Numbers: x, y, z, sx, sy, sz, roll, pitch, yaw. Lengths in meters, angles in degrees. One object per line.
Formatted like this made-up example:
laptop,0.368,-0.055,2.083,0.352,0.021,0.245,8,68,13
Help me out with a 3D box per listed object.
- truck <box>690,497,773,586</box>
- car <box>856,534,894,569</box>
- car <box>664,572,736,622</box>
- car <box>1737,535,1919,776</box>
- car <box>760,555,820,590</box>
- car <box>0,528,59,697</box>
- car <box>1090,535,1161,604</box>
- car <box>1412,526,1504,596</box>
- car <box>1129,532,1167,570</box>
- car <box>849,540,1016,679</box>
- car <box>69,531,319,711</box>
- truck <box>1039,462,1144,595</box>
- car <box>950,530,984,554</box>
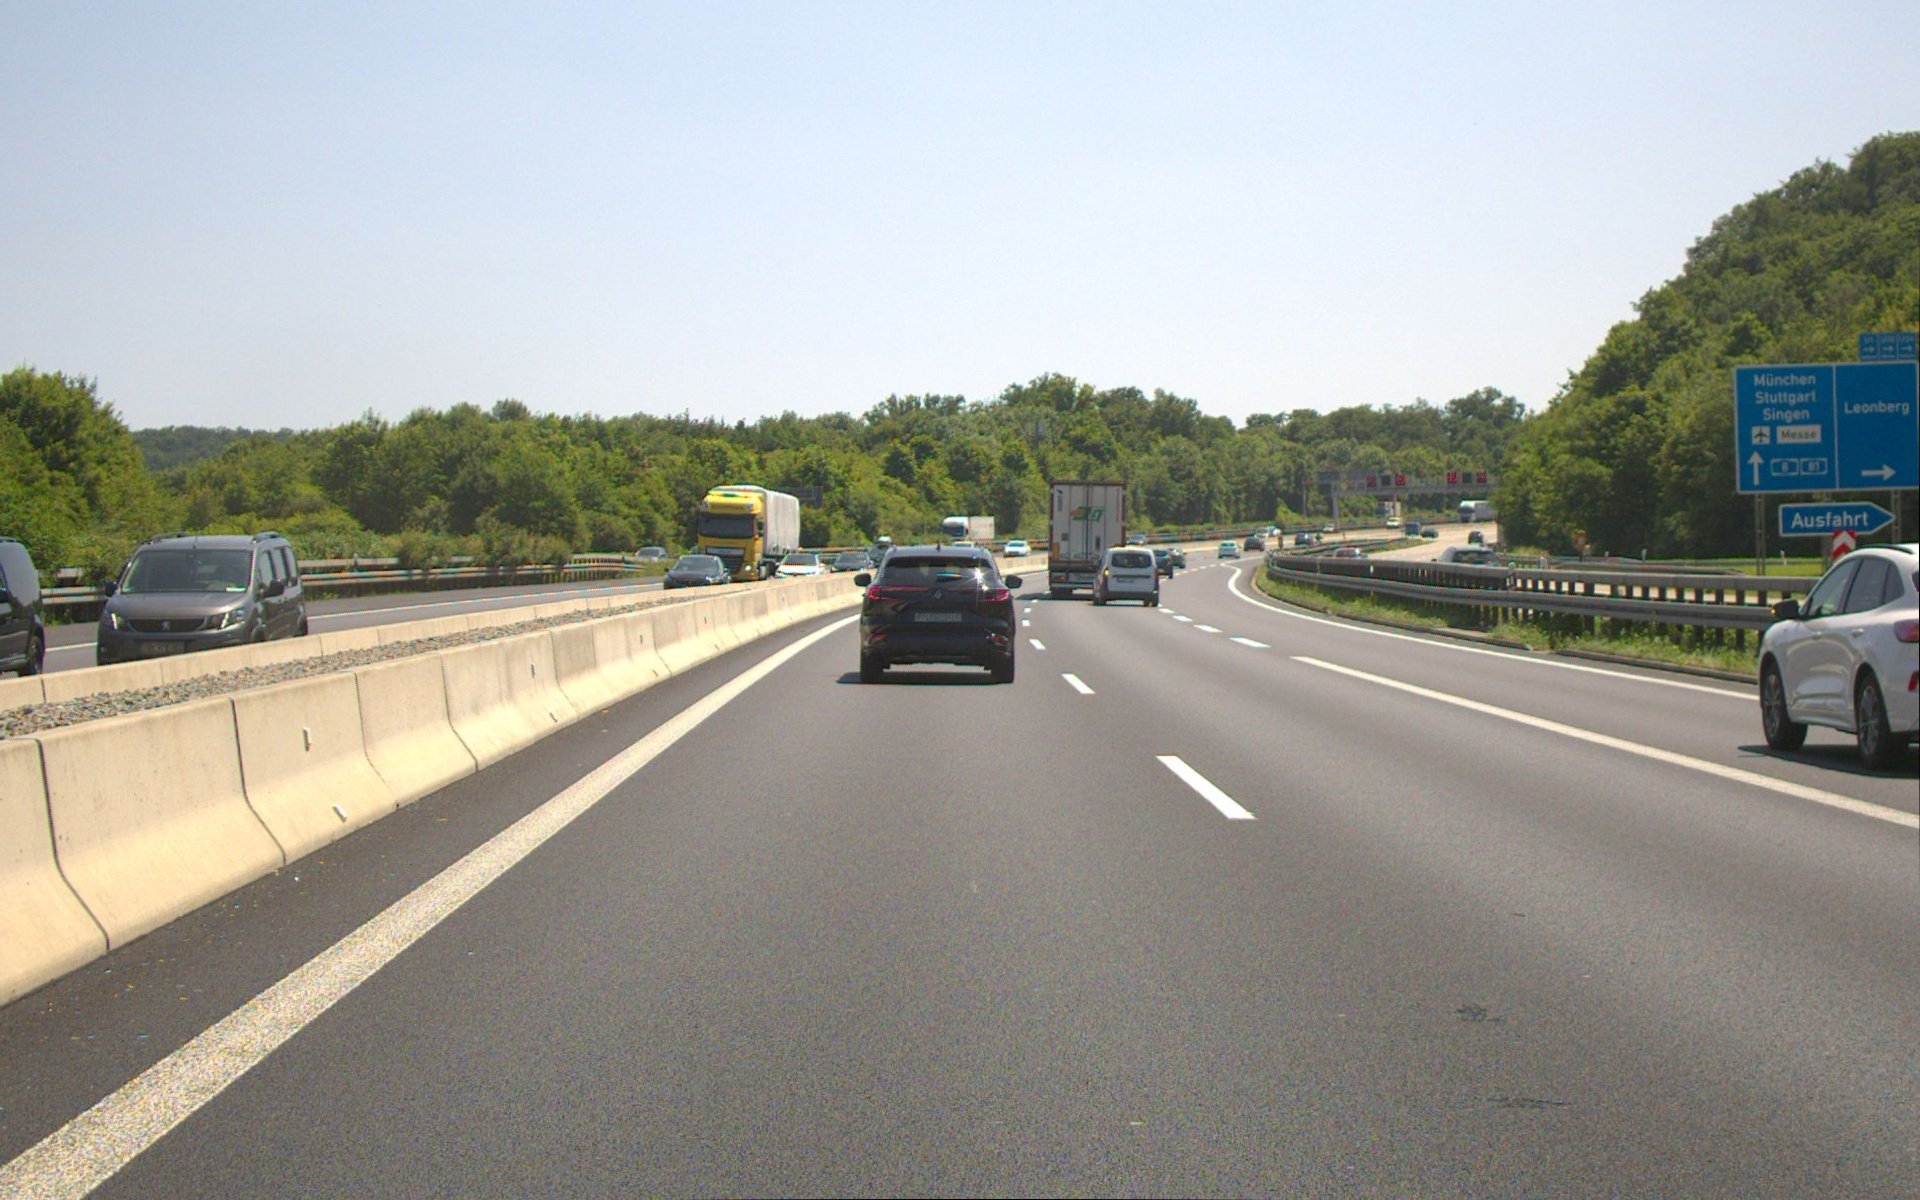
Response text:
truck,-9.801,-2.510,148.016,2.750,3.742,4.865,1,0,6
car,-5.101,-2.920,206.554,1.993,2.074,4.704,0,1,2
car,-8.158,-0.109,108.216,1.729,1.531,4.613,1,0,2
car,7.426,0.372,25.928,1.993,1.656,4.468,1,0,-2
car,-6.821,-1.125,138.010,1.994,1.369,4.662,0,1,2
car,-12.456,0.133,41.727,1.993,2.007,4.485,1,0,-2
car,5.120,-0.955,105.919,1.994,2.007,4.000,-2,1,4
car,14.960,-1.179,103.419,1.993,2.007,4.001,-1,1,-2
car,10.173,-2.653,185.711,1.994,2.007,3.999,1,0,4
car,-0.375,0.091,41.126,1.779,1.572,4.001,1,0,-3
car,-9.088,0.219,41.211,2.050,2.007,4.955,1,0,-2
truck,4.700,-2.437,120.867,3.032,4.403,12.016,1,0,5
car,0.547,-4.243,251.974,1.869,1.660,4.662,1,0,8
